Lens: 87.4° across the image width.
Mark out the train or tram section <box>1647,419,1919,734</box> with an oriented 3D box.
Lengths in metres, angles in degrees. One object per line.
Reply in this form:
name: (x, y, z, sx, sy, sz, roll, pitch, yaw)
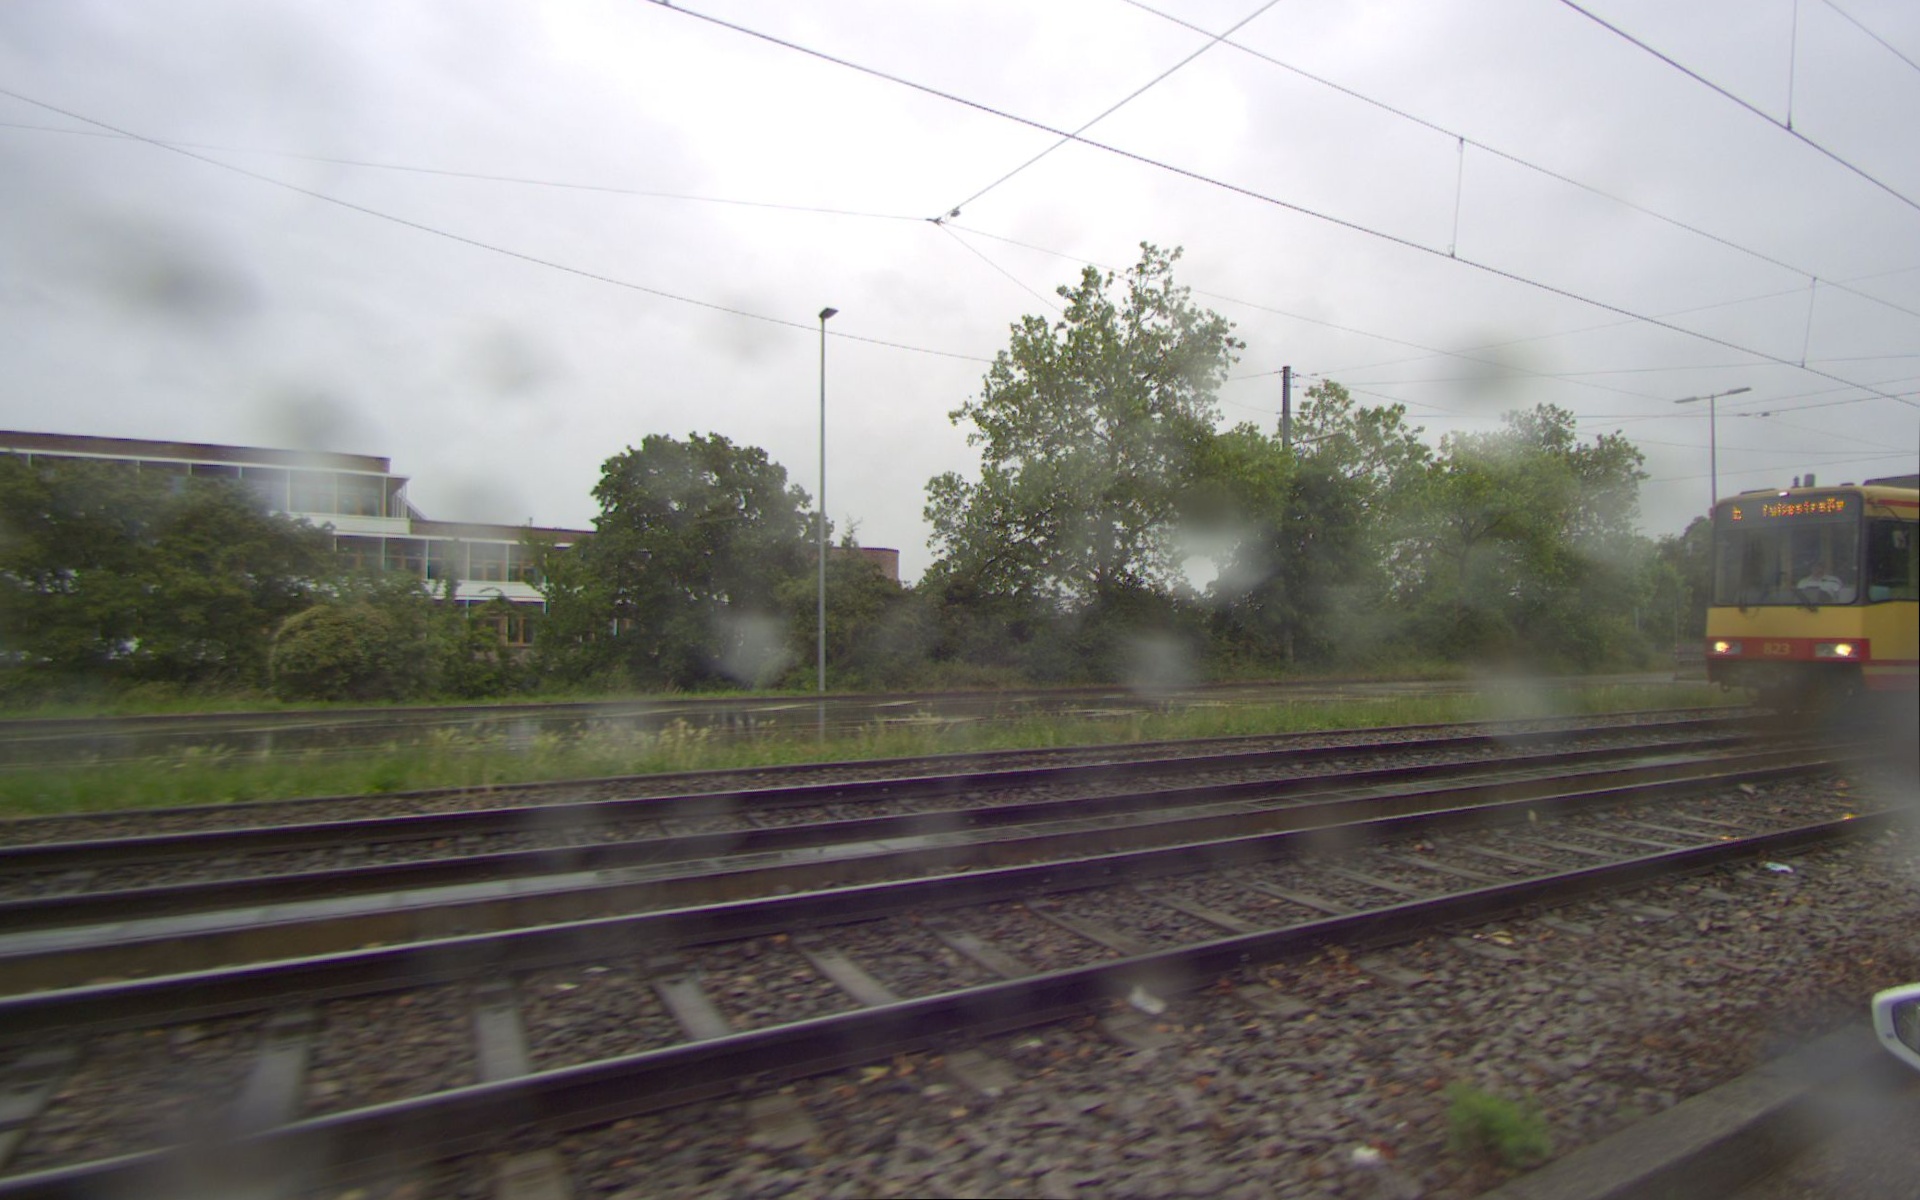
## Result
train or tram section: (17.109, -0.162, 17.839, 12.864, 4.205, 2.794, 1, -1, -30)
